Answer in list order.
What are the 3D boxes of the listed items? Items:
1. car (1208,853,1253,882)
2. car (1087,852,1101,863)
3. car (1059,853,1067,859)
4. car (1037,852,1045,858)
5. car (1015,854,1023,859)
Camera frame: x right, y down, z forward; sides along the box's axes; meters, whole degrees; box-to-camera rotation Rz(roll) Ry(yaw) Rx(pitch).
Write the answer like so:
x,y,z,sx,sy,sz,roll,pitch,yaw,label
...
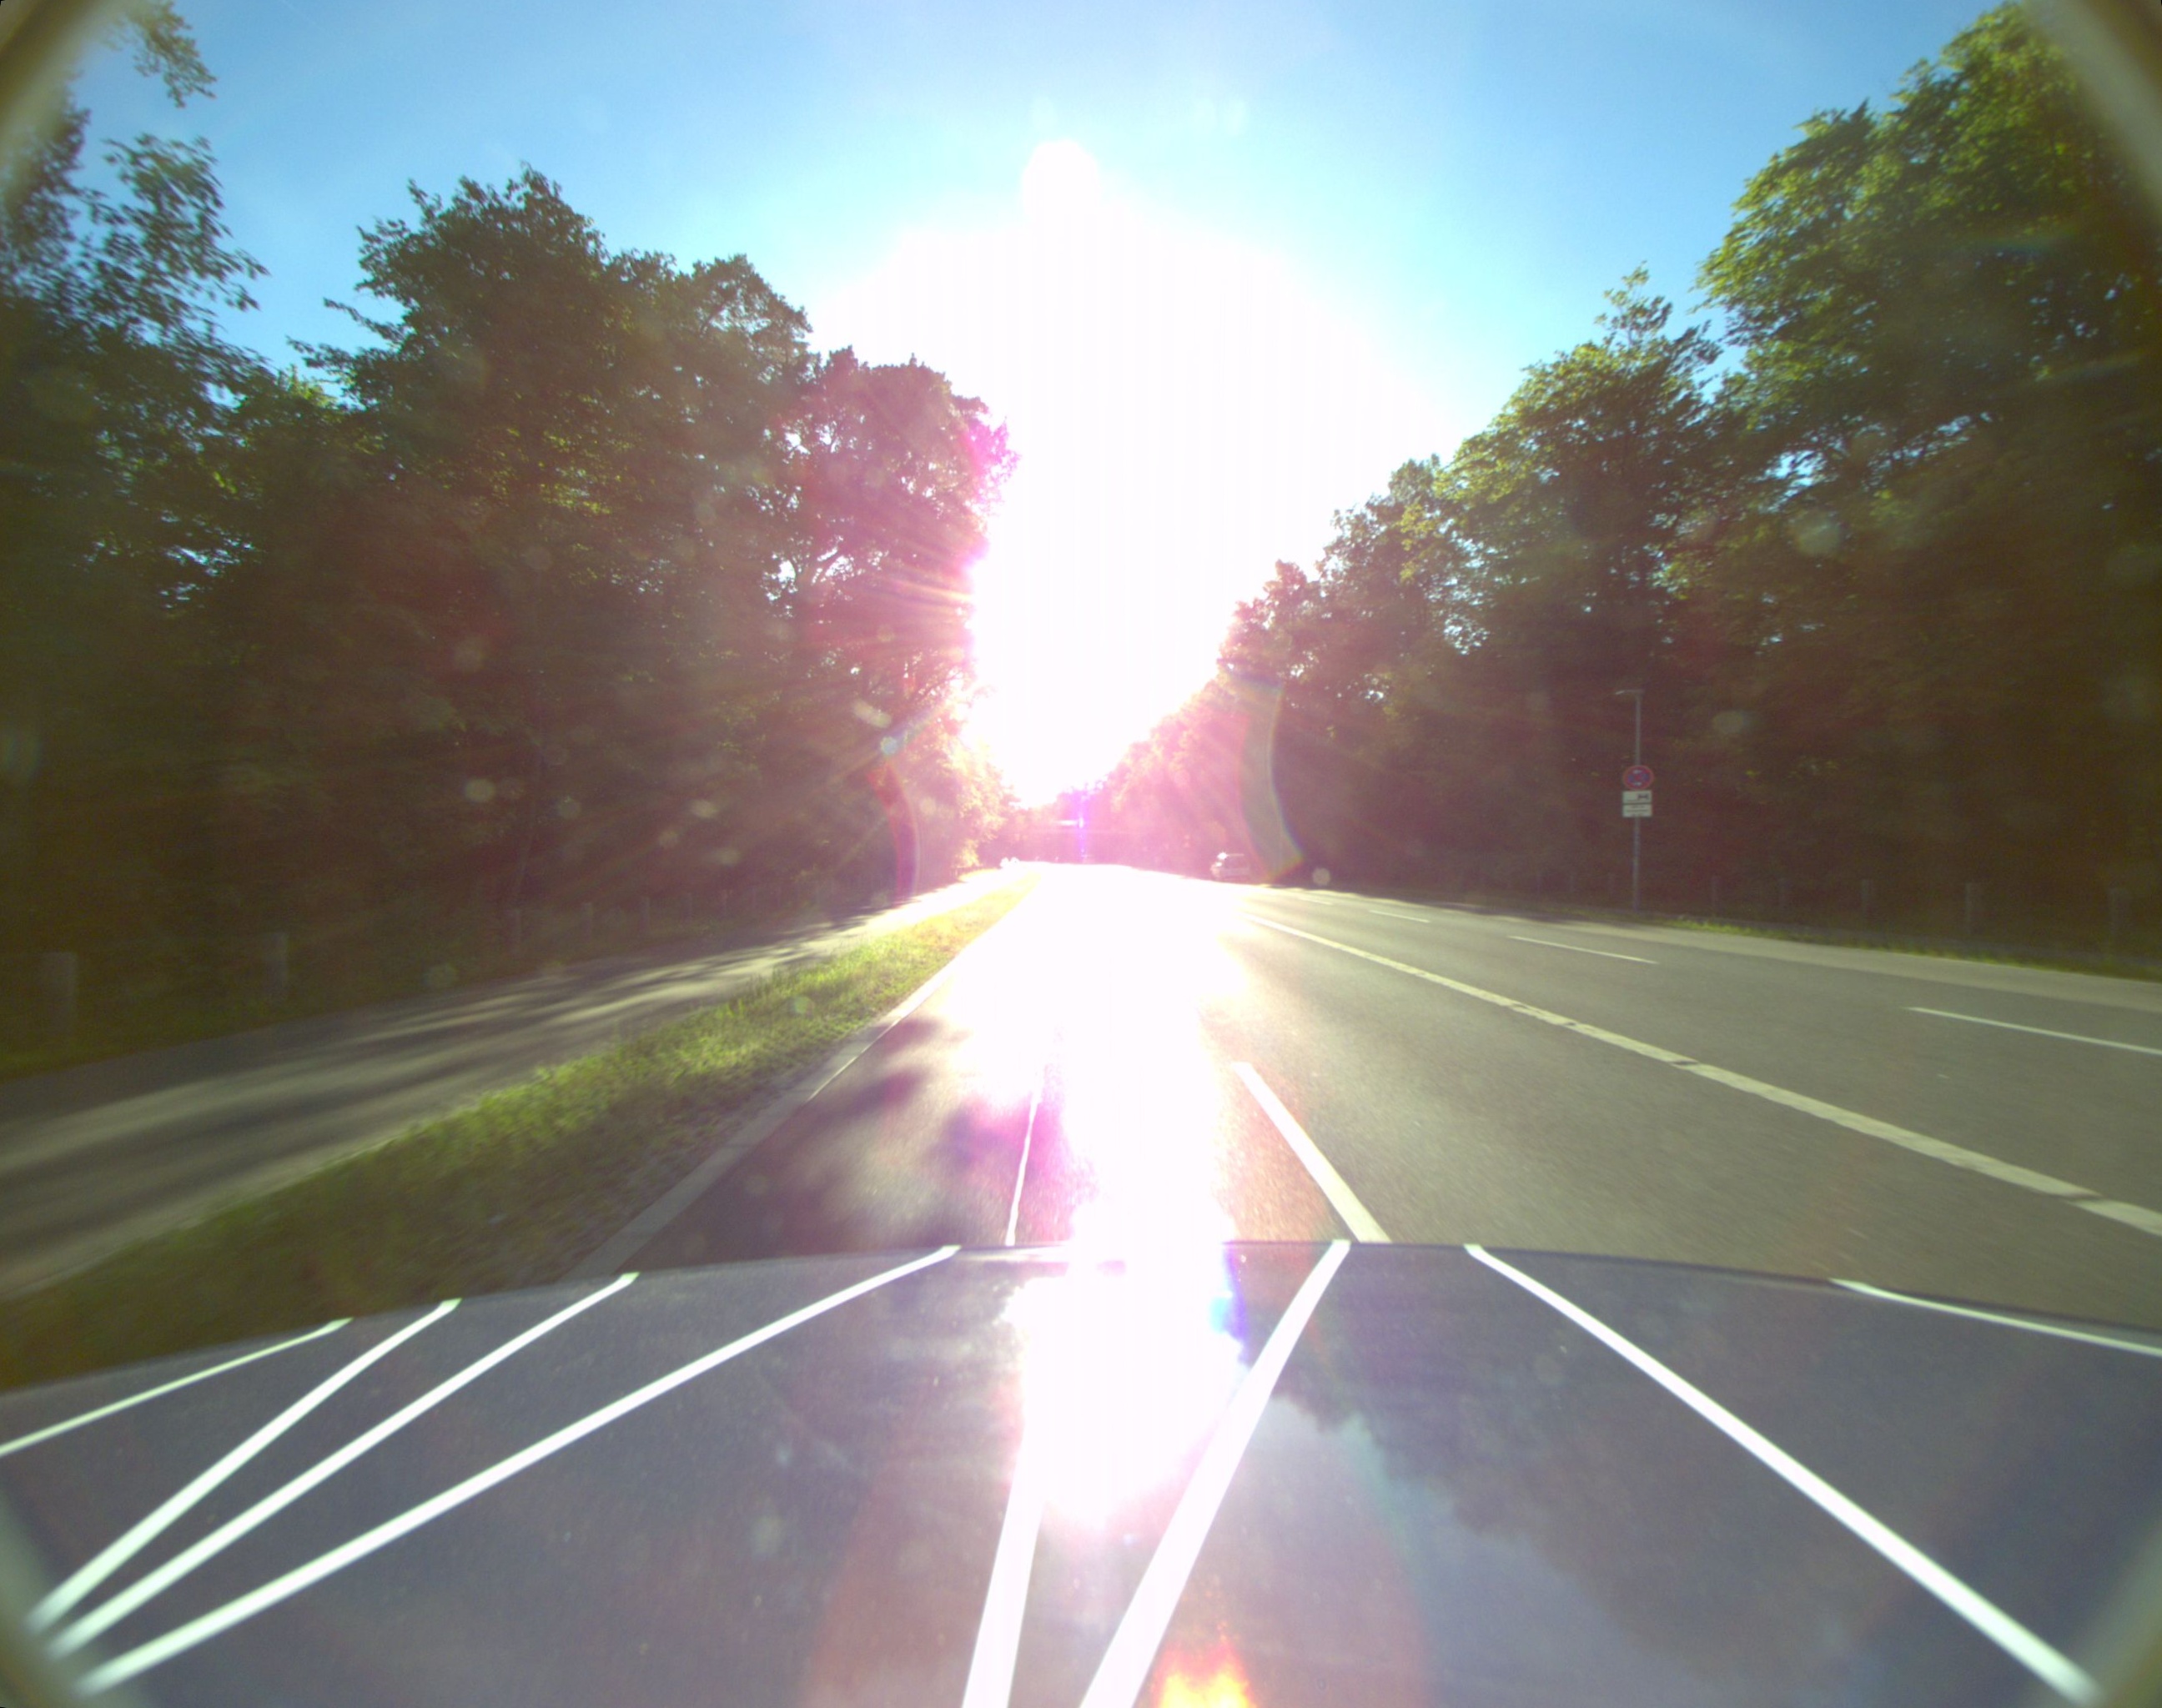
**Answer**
x,y,z,sx,sy,sz,roll,pitch,yaw,label
8.323,0.723,42.599,1.591,1.429,4.308,-3,0,0,car
2.334,0.582,136.059,2.007,1.815,4.997,-2,0,-4,car
-4.543,0.409,188.262,1.517,1.457,4.311,-1,0,-7,car
-12.251,0.274,232.918,1.848,1.539,3.996,2,-1,-11,car
-19.586,0.821,239.690,1.828,1.674,3.995,-1,0,-13,car
